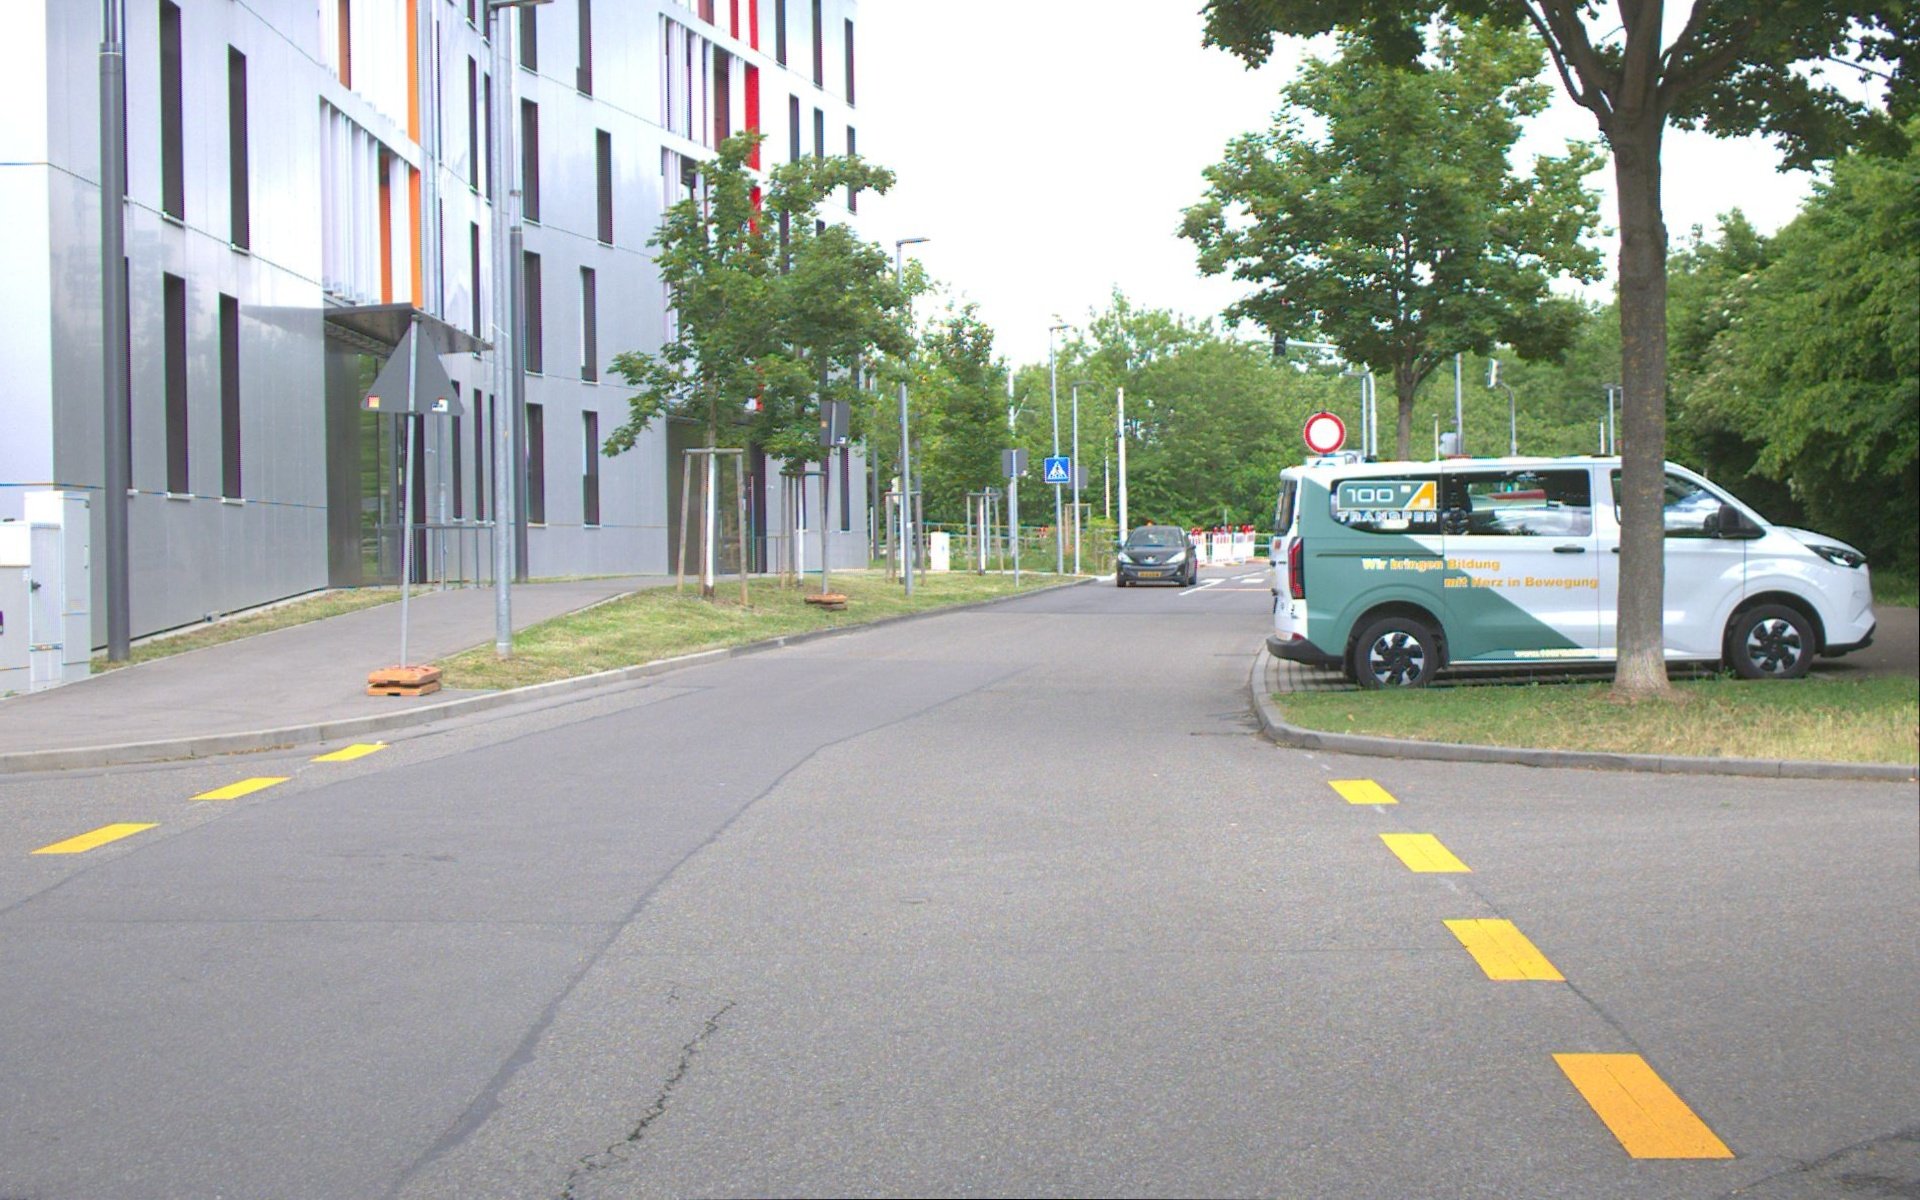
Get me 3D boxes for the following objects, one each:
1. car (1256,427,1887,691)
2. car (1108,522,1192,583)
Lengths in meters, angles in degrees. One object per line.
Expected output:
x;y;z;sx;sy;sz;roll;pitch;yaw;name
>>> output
5.087;-0.355;29.105;4.972;1.965;1.847;-2;1;2;car
4.484;-1.138;80.725;1.609;1.383;3.999;1;1;8;car
